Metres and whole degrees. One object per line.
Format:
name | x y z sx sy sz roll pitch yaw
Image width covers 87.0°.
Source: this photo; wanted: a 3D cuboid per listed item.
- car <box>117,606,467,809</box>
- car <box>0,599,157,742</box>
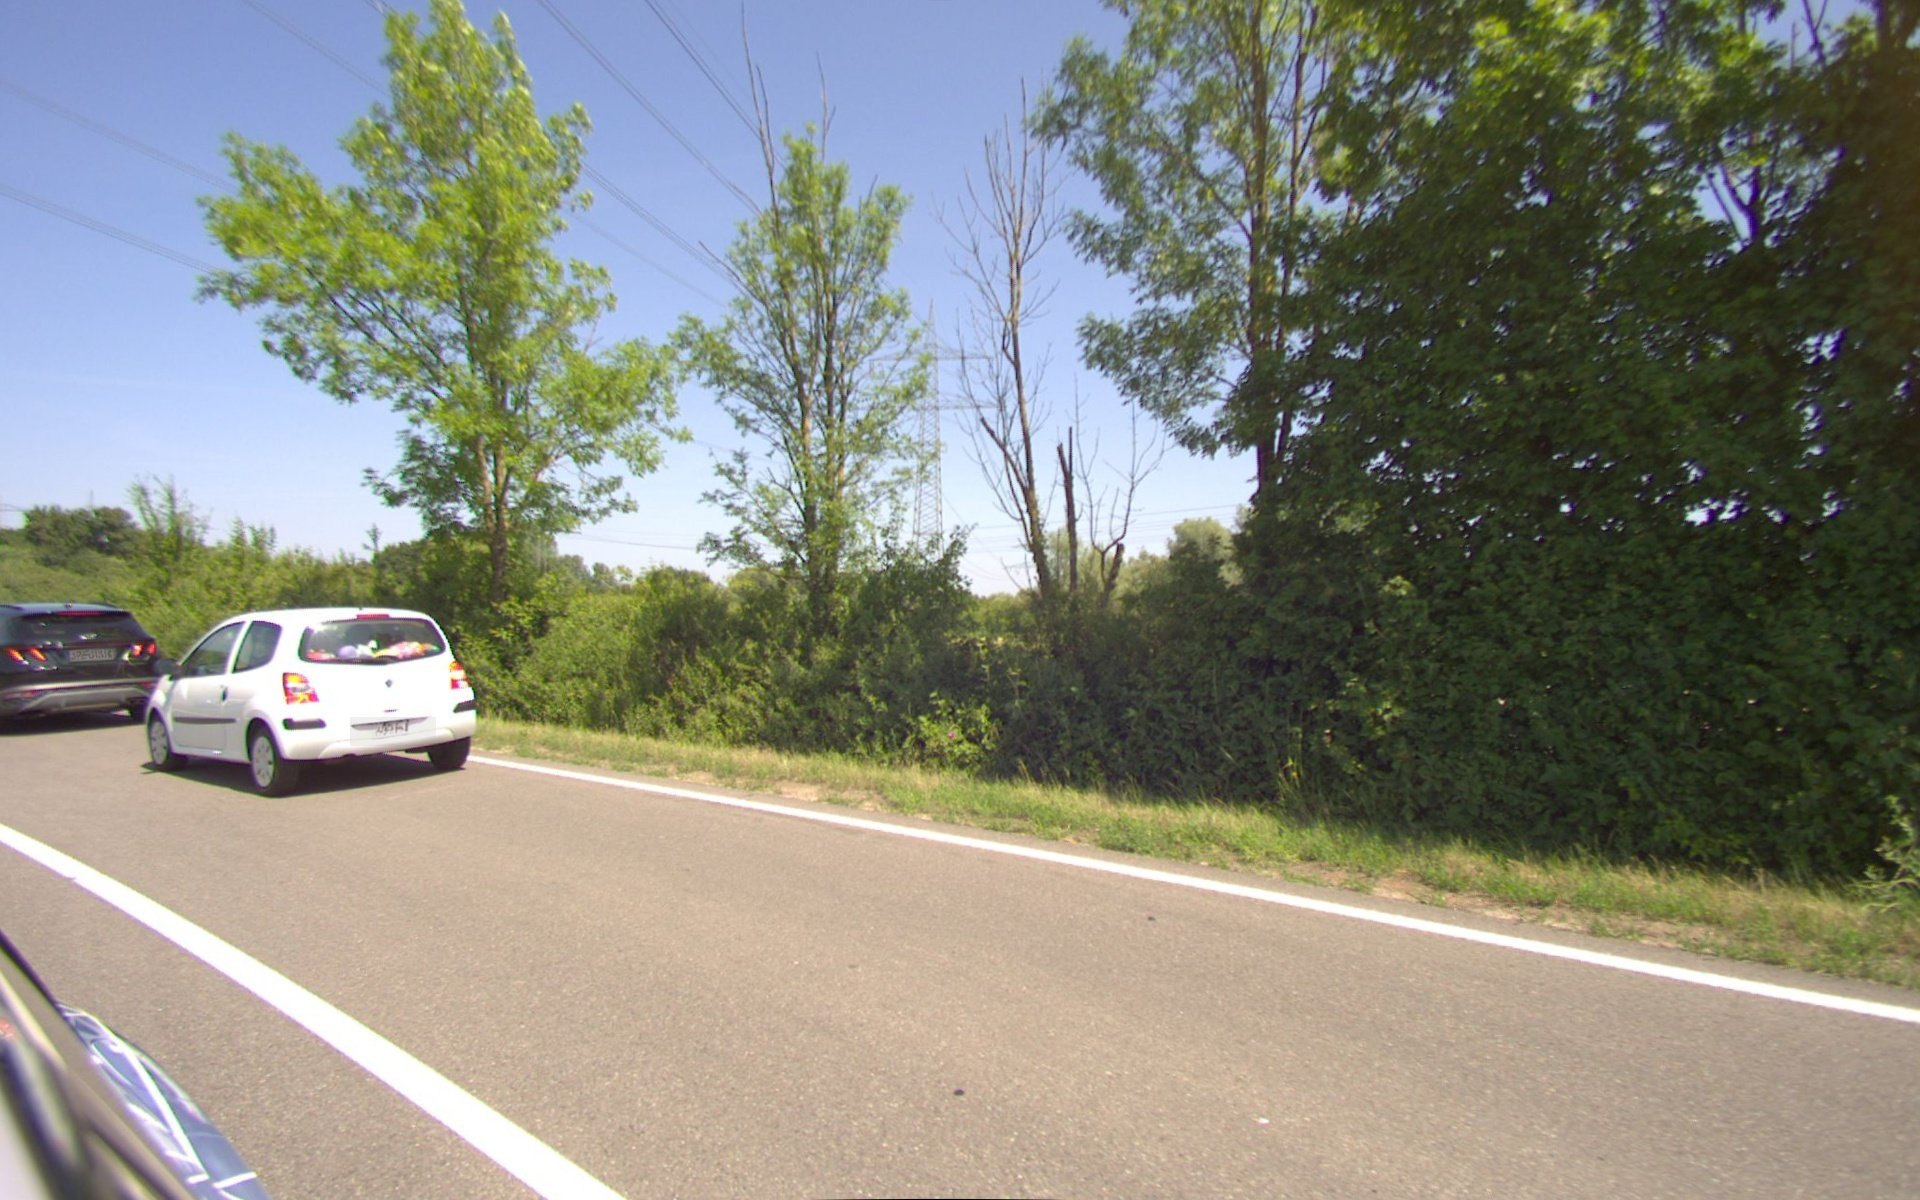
car | -6.154 0.810 9.201 3.601 1.453 1.522 0 1 37
car | -12.700 0.859 13.603 4.235 1.650 1.689 -1 0 32
